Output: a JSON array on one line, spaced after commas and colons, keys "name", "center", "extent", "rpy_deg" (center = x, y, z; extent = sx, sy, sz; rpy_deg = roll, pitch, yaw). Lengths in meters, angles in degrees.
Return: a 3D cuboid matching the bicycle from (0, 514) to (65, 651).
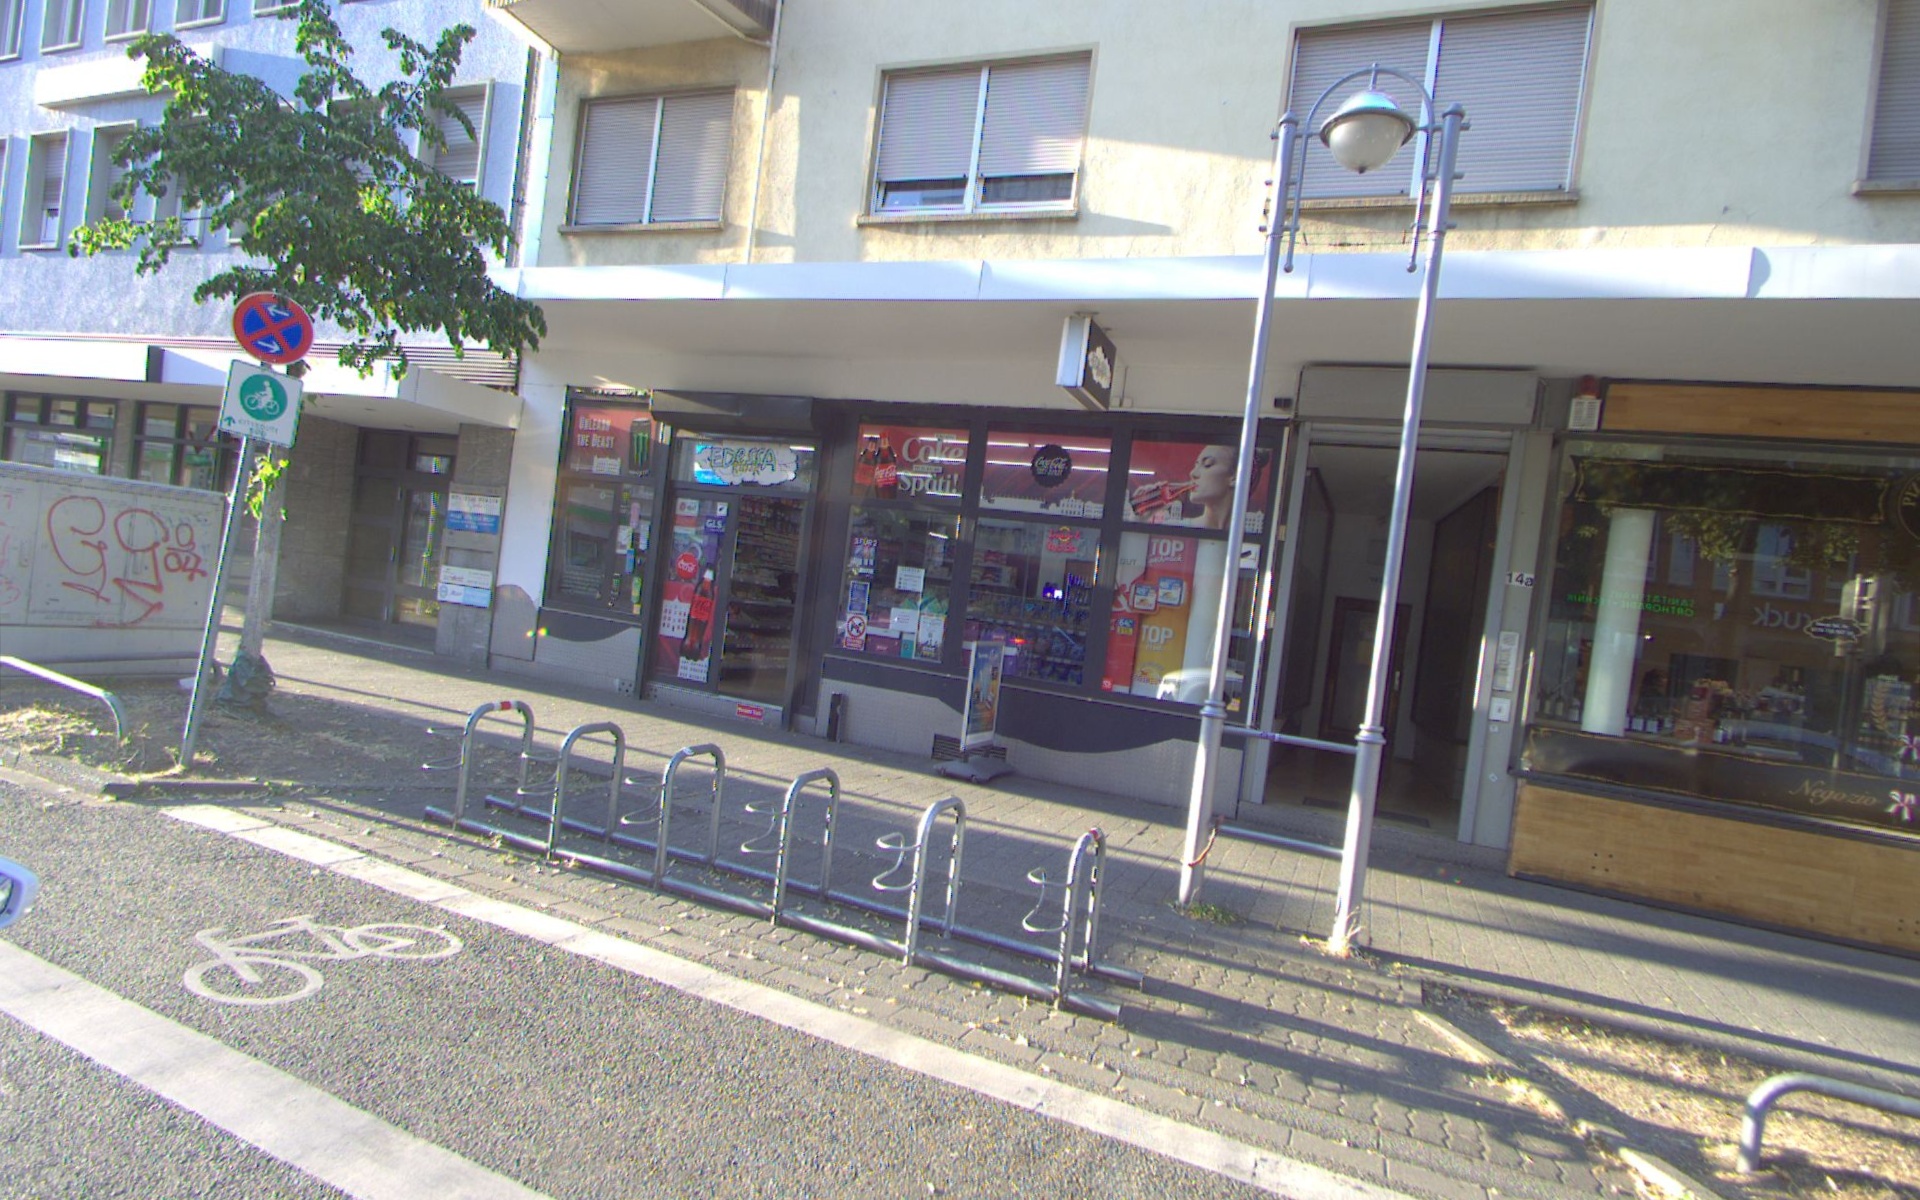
[{"name": "bicycle", "center": [-9.096, -0.210, 9.031], "extent": [0.376, 1.234, 1.446], "rpy_deg": [7, -1, 25]}]
